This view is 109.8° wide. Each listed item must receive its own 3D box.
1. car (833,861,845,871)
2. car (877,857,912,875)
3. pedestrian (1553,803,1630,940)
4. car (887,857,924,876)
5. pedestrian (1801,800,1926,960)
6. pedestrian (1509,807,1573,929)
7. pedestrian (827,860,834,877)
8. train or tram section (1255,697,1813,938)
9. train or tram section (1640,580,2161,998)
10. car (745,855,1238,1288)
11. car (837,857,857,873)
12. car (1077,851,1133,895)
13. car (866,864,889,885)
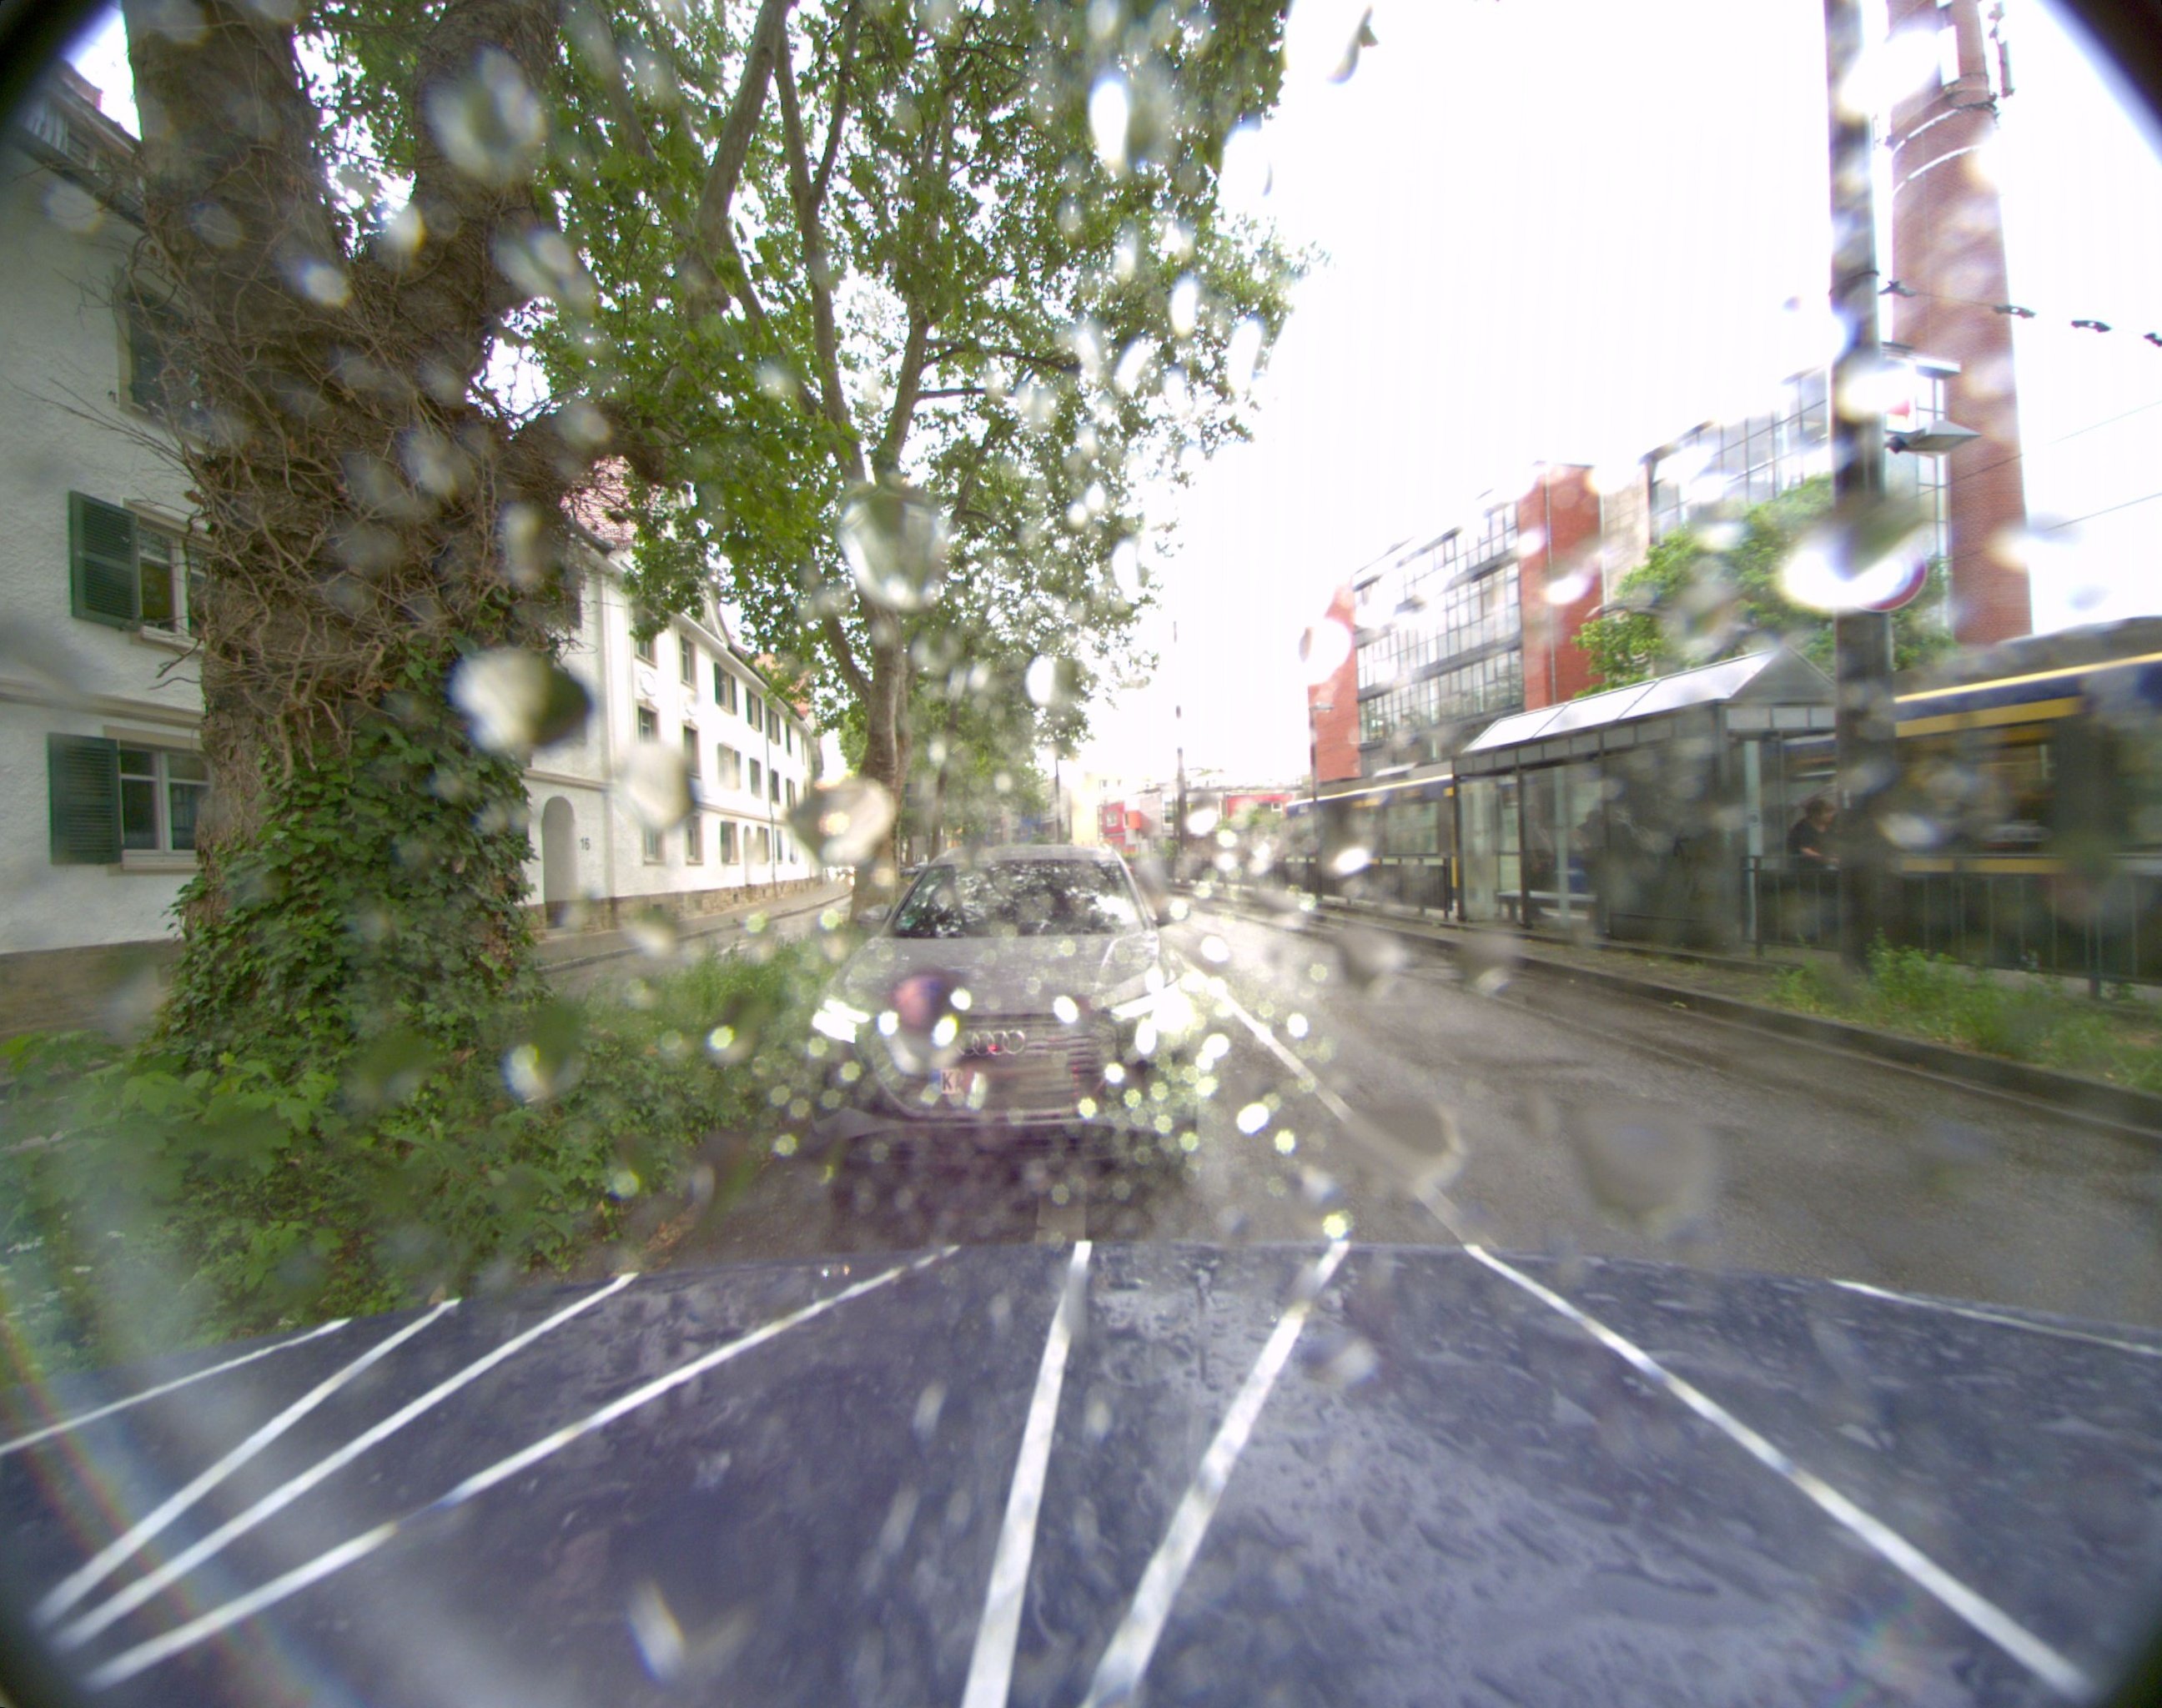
[{"bbox_3d":[-43.056,2.132,135.087,1.834,1.517,3.993,-2,1,-19],"label":"car"},{"bbox_3d":[-23.210,1.507,94.656,4.002,2.002,1.997,-2,0,-17],"label":"car"},{"bbox_3d":[6.735,0.222,10.042,0.629,1.738,0.564,-2,1,9],"label":"pedestrian"},{"bbox_3d":[-20.238,1.473,87.561,4.002,2.002,1.997,-2,0,-17],"label":"car"},{"bbox_3d":[8.060,0.266,7.841,0.798,1.588,0.506,0,-2,-10],"label":"pedestrian"},{"bbox_3d":[6.774,0.208,11.214,0.629,1.738,0.514,-2,1,9],"label":"pedestrian"},{"bbox_3d":[-28.137,1.645,85.399,0.674,1.811,0.678,-3,1,-18],"label":"pedestrian"},{"bbox_3d":[8.632,-0.585,19.022,2.869,3.525,15.361,-2,0,-8],"label":"train or tram section"},{"bbox_3d":[10.854,-0.593,4.721,2.869,3.525,13.704,-2,0,-9],"label":"train or tram section"},{"bbox_3d":[-0.411,0.877,5.117,1.917,1.632,4.106,-2,0,-2],"label":"car"},{"bbox_3d":[-35.155,1.597,114.004,2.199,2.250,5.401,-3,0,-24],"label":"car"},{"bbox_3d":[0.899,0.728,30.723,1.756,1.582,4.233,-3,0,-5],"label":"car"},{"bbox_3d":[-16.843,1.646,63.022,1.758,1.560,4.230,-3,0,-15],"label":"car"}]
